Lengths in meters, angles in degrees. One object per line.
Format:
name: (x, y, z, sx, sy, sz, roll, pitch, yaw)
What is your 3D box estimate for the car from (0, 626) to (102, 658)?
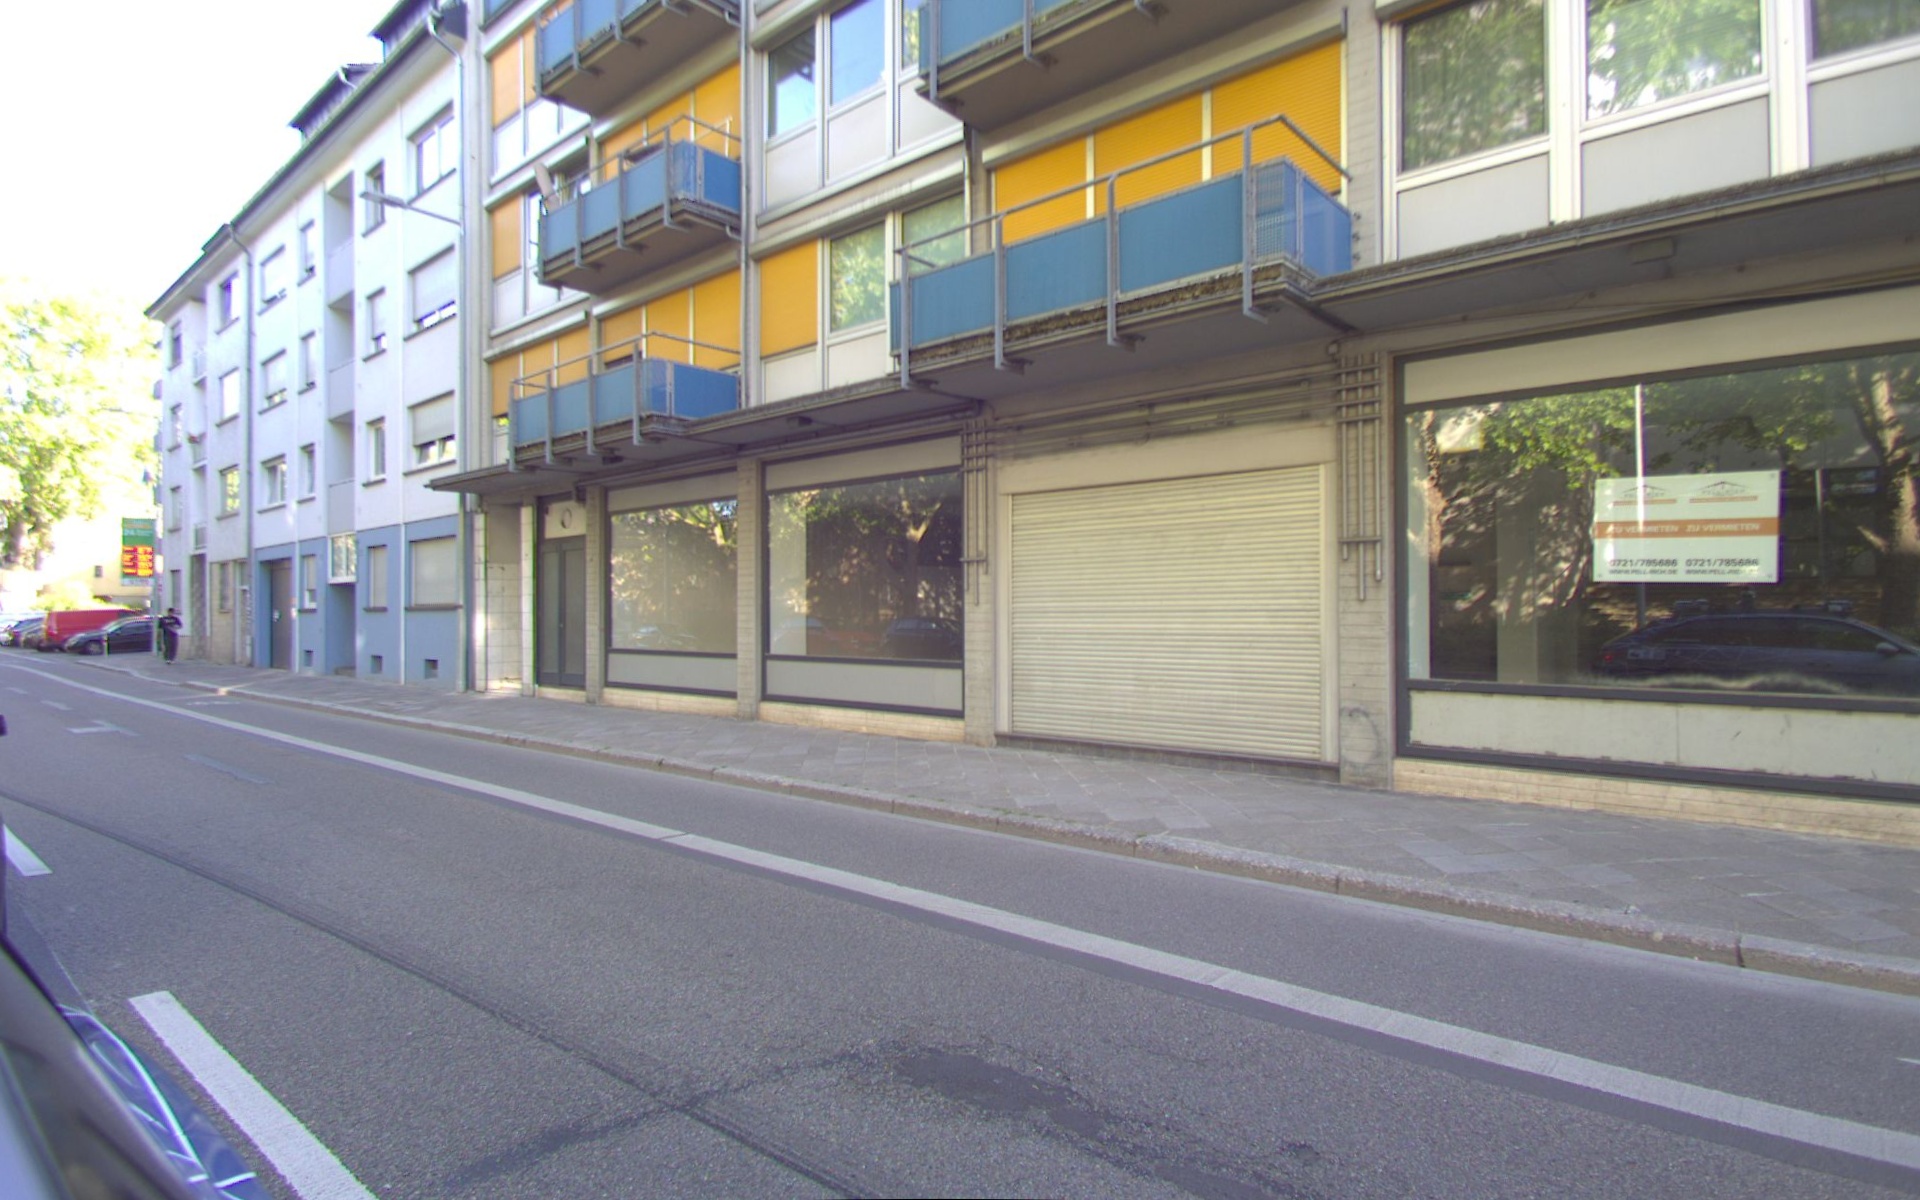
car: (-50.470, 2.288, 56.103, 1.652, 1.480, 4.201, -1, 1, 41)

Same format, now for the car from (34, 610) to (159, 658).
car: (-40.574, 1.554, 47.617, 1.817, 1.933, 4.202, -1, 1, 40)

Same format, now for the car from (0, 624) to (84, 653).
car: (-55.885, 2.294, 61.195, 1.652, 1.480, 4.201, -1, 1, 41)

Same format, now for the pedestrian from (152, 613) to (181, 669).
pedestrian: (-24.671, 1.253, 31.450, 0.655, 1.708, 0.604, -2, -1, 41)

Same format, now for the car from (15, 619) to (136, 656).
car: (-42.763, 1.786, 49.013, 1.652, 1.480, 4.201, -1, 1, 41)

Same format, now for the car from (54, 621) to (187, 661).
car: (-36.500, 1.740, 44.092, 1.652, 1.411, 4.201, -1, 1, 41)

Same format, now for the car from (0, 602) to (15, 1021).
car: (-5.647, 0.795, 4.405, 4.300, 1.510, 1.826, -1, -1, 41)

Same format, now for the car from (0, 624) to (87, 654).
car: (-54.503, 2.274, 59.787, 1.652, 1.480, 4.201, -1, 1, 41)

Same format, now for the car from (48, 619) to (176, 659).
car: (-38.193, 1.727, 45.655, 1.652, 1.480, 4.201, -1, 1, 41)
